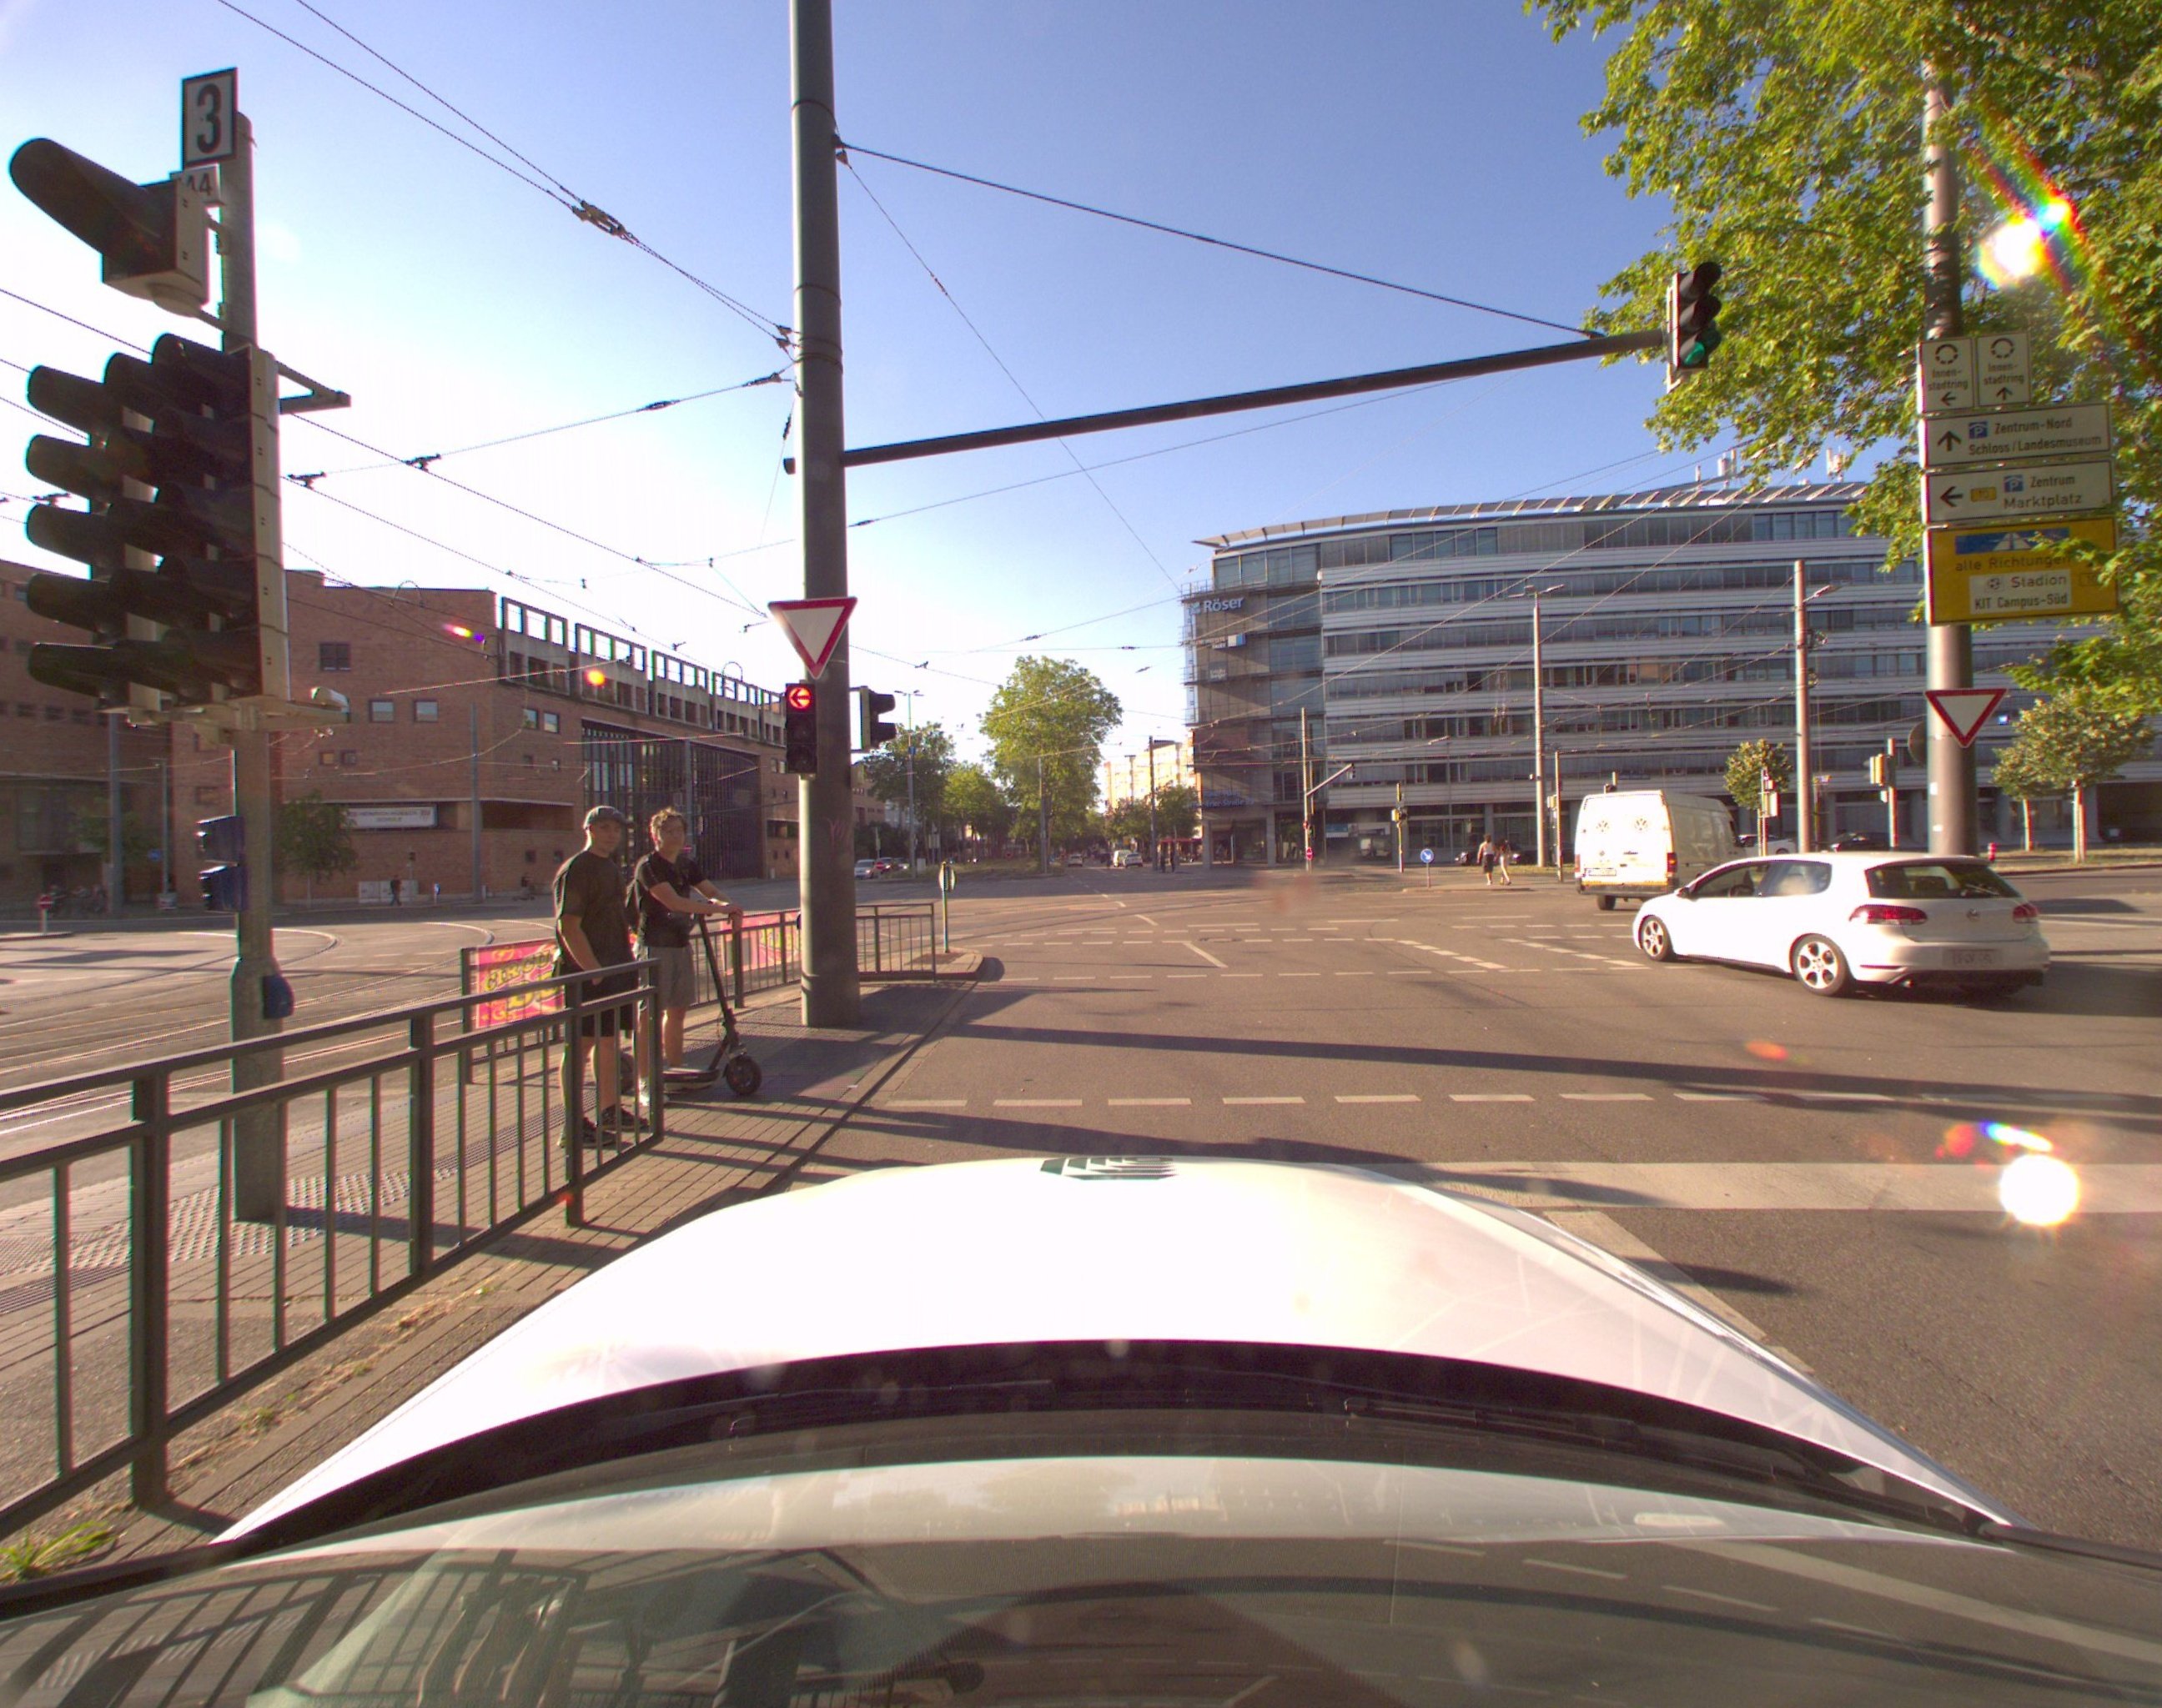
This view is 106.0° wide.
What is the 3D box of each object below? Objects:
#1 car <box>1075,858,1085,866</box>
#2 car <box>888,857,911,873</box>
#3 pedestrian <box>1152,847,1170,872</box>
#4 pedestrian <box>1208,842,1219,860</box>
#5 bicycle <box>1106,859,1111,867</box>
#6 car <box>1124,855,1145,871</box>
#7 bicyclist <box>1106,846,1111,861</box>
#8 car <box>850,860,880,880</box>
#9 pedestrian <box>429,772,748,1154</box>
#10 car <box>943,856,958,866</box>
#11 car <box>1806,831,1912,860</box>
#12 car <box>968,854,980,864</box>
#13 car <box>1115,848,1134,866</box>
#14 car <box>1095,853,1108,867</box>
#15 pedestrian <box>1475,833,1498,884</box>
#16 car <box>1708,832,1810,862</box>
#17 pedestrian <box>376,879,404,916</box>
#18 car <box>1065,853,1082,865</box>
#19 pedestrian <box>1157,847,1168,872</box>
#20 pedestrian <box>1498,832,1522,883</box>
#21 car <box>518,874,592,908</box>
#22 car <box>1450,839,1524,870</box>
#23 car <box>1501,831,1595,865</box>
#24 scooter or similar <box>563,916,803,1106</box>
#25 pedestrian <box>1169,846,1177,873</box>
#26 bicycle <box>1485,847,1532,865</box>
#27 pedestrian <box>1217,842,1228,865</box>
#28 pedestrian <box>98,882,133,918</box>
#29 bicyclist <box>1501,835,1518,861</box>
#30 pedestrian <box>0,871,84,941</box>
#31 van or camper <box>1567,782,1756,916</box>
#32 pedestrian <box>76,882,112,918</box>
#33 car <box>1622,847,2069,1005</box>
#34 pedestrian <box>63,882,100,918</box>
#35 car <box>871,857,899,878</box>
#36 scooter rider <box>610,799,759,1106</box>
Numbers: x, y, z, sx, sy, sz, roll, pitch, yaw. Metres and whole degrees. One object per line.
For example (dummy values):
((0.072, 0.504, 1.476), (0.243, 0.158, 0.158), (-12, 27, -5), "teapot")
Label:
((-0.170, 1.373, 146.122), (1.759, 1.404, 4.293), (-1, 0, -2), "car")
((-18.503, 1.094, 83.290), (1.673, 1.607, 3.994), (0, -1, -4), "car")
((6.468, 0.461, 65.824), (1.337, 1.950, 1.011), (-2, -1, 1), "pedestrian")
((16.182, -0.312, 99.689), (1.305, 2.190, 1.173), (-1, -1, 8), "pedestrian")
((2.626, 0.847, 77.755), (0.489, 0.788, 1.862), (-1, 0, 2), "bicycle")
((5.402, 0.943, 82.931), (2.022, 1.596, 4.001), (0, -1, 2), "car")
((2.611, -0.067, 77.687), (0.485, 1.439, 0.616), (-1, 0, 1), "bicyclist")
((-17.946, 1.295, 67.872), (1.618, 1.577, 3.994), (-2, 0, -4), "car")
((-2.652, 0.555, 4.501), (1.161, 1.884, 0.856), (-2, 0, 6), "pedestrian")
((-24.055, 1.223, 150.276), (1.903, 1.783, 4.002), (-2, 0, 2), "car")
((44.477, -0.484, 46.617), (4.097, 1.596, 1.884), (0, -1, 5), "car")
((-22.088, 1.030, 168.103), (1.837, 1.783, 4.002), (-2, 0, 2), "car")
((4.755, 0.336, 89.719), (1.986, 2.014, 4.001), (0, -1, 2), "car")
((3.209, 0.925, 126.852), (1.986, 2.014, 4.001), (0, -1, 2), "car")
((14.359, 0.165, 28.827), (0.671, 1.759, 0.746), (-2, 0, 27), "pedestrian")
((37.548, -0.371, 45.187), (3.968, 1.596, 1.884), (0, -1, 5), "car")
((-35.914, 2.239, 42.320), (0.721, 1.902, 0.875), (0, -1, -1), "pedestrian")
((-0.873, 0.642, 99.026), (1.740, 1.418, 4.004), (-1, 0, 4), "car")
((6.424, 0.429, 64.274), (0.846, 2.014, 0.708), (0, -1, 0), "pedestrian")
((15.040, 0.130, 28.574), (0.677, 1.759, 0.746), (-2, 0, 27), "pedestrian")
((-36.568, 2.536, 56.748), (1.982, 2.013, 4.202), (-2, 0, 7), "car")
((27.239, 0.067, 54.757), (3.972, 2.014, 2.001), (0, -1, 2), "car")
((26.519, -0.329, 46.383), (4.234, 1.723, 1.886), (-2, 0, 4), "car")
((-2.545, 0.990, 5.288), (1.196, 1.081, 0.649), (-2, 0, 5), "scooter or similar")
((7.093, 0.430, 62.783), (0.584, 2.014, 0.620), (0, -1, 2), "pedestrian")
((25.705, 0.126, 49.029), (2.397, 1.022, 0.638), (-2, 0, 6), "bicycle")
((12.527, -0.019, 72.056), (0.866, 2.014, 0.794), (0, -2, 1), "pedestrian")
((-58.032, 2.766, 48.968), (1.003, 2.052, 0.850), (-2, 0, -1), "pedestrian")
((25.770, -0.375, 49.005), (0.660, 1.503, 0.614), (-2, 0, 7), "bicyclist")
((-31.178, 1.542, 24.437), (1.029, 2.014, 1.208), (0, -1, 1), "pedestrian")
((13.542, -0.159, 18.776), (6.532, 2.614, 1.982), (-2, 0, -41), "van or camper")
((-57.365, 2.663, 47.347), (1.003, 2.052, 0.850), (-2, 0, -1), "pedestrian")
((8.282, 0.655, 9.420), (1.627, 1.428, 3.991), (-1, 0, 4), "car")
((-58.293, 2.672, 47.492), (1.003, 2.052, 0.850), (-2, 0, -1), "pedestrian")
((-18.114, 1.220, 75.479), (1.819, 1.790, 3.994), (-2, 0, -4), "car")
((-2.563, 0.609, 5.313), (0.563, 1.853, 0.681), (-2, -2, 6), "scooter rider")
